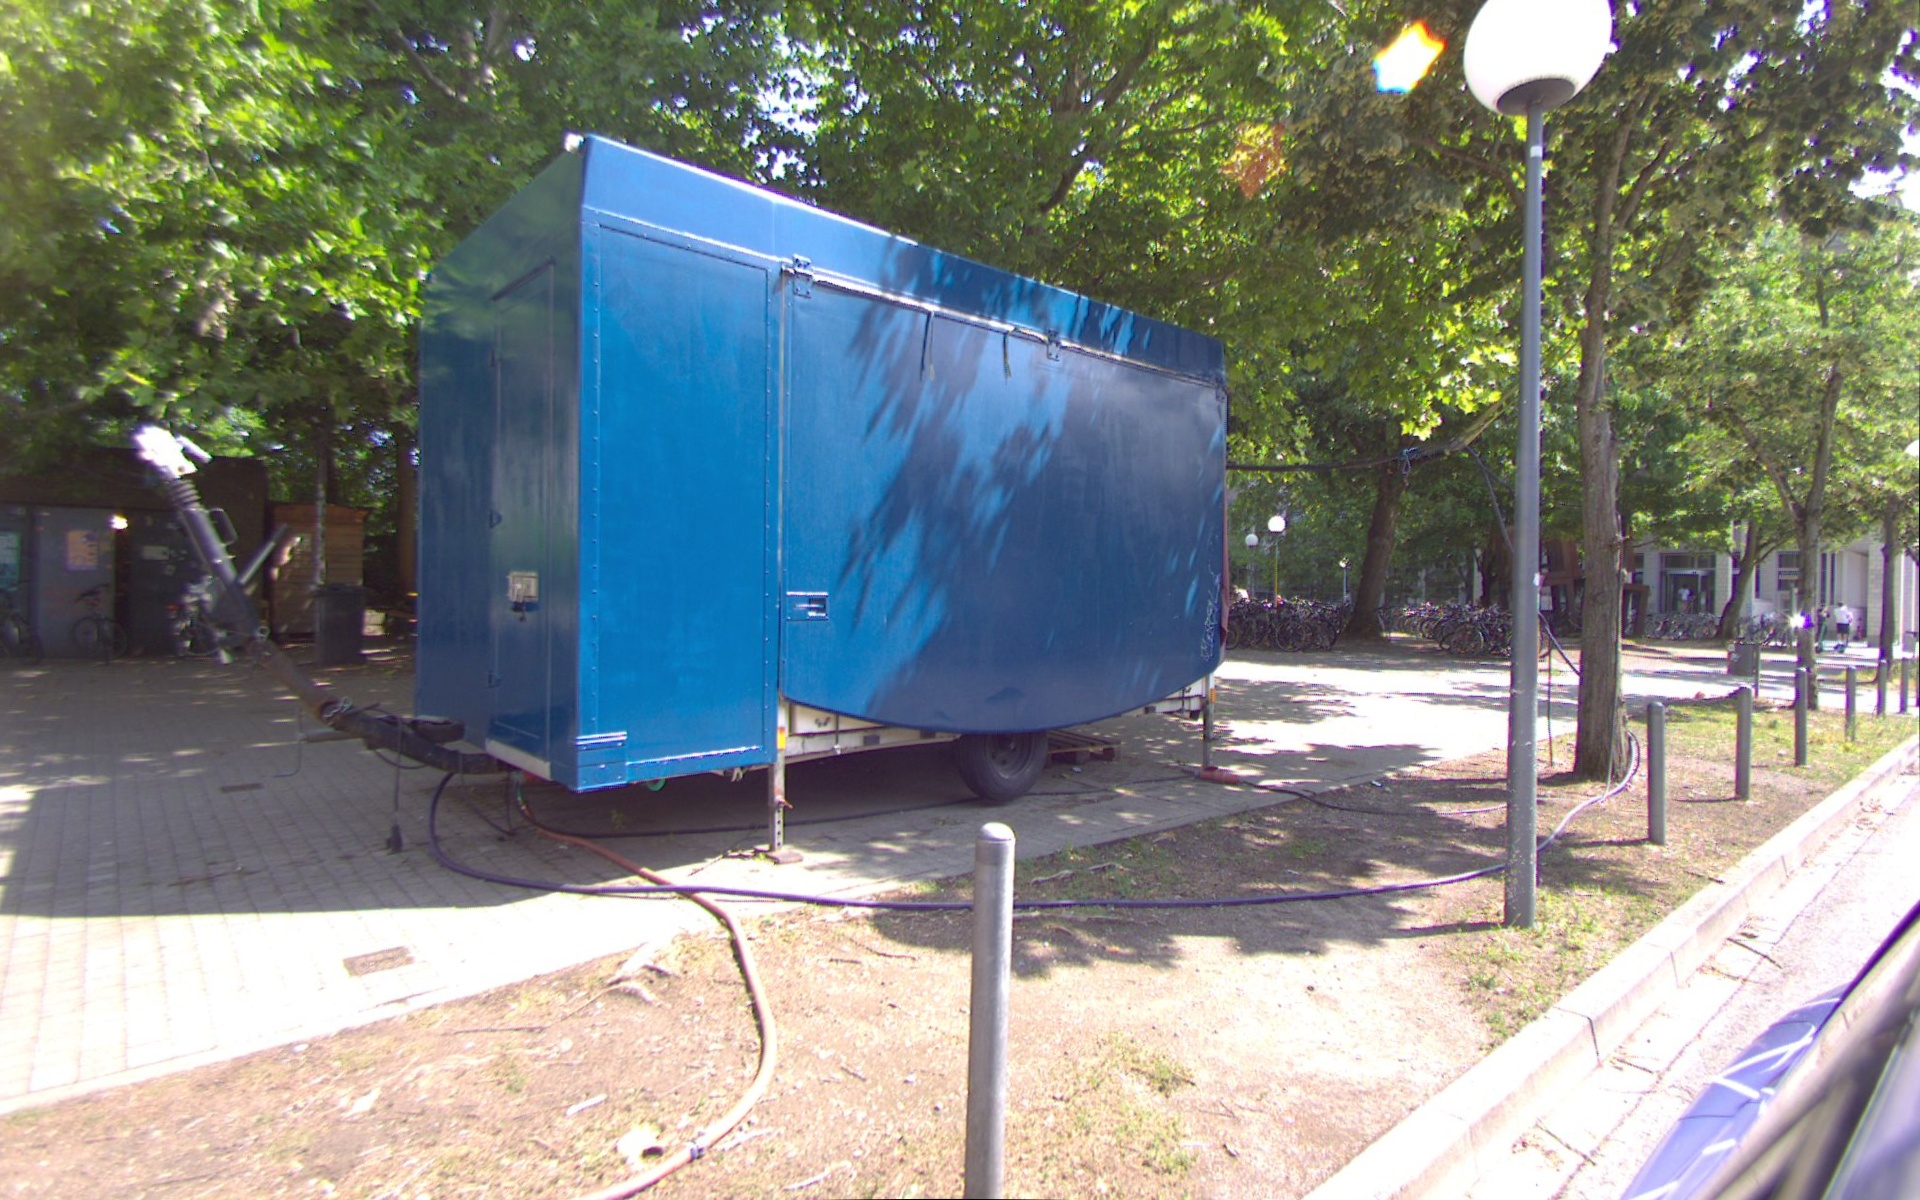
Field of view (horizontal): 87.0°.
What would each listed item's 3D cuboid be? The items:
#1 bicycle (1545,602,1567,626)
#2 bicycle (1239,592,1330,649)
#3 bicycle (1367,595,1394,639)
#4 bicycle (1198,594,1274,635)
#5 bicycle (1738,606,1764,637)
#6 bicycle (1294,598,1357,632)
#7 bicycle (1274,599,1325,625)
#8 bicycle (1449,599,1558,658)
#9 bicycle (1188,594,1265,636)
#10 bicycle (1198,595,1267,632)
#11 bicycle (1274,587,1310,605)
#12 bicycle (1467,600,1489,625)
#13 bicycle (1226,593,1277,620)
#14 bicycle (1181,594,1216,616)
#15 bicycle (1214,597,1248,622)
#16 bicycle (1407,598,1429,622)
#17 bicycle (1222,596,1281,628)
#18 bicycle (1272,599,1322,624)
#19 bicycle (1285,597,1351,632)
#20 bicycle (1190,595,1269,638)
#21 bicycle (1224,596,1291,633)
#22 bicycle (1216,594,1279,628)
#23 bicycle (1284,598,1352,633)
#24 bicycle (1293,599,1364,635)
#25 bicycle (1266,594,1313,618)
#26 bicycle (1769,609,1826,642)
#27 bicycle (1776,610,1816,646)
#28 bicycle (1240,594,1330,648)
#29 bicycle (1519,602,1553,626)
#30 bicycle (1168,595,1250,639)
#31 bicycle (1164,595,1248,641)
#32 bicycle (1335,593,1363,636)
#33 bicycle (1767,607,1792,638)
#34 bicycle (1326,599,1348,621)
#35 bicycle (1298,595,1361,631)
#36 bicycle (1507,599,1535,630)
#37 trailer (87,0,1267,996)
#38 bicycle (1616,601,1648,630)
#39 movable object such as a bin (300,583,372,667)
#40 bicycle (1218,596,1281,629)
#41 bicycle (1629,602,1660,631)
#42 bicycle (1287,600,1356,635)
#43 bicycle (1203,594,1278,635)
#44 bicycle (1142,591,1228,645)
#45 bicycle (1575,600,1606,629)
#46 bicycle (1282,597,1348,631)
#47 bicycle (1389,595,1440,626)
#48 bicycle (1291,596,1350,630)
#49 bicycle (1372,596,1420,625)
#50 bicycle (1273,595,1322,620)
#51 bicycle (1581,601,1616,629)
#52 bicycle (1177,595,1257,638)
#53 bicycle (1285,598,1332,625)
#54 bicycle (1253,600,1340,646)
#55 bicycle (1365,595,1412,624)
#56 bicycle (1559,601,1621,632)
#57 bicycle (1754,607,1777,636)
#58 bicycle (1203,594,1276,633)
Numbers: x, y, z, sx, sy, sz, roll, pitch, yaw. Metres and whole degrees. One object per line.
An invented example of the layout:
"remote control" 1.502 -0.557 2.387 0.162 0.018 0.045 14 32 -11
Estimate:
"bicycle" 26.665 0.644 45.284 0.566 1.061 1.671 -2 -3 41
"bicycle" 7.108 0.437 22.187 1.792 1.132 0.607 3 1 28
"bicycle" 11.391 0.439 27.366 0.474 1.096 1.885 2 1 28
"bicycle" 7.392 0.380 27.105 1.885 0.991 0.474 3 1 26
"bicycle" 31.392 0.858 40.147 1.465 1.155 0.560 3 1 -44
"bicycle" 11.852 0.473 32.837 1.879 0.991 0.476 2 1 19
"bicycle" 14.063 0.482 41.943 1.870 0.991 0.478 2 1 6
"bicycle" 11.893 0.599 22.181 2.010 1.181 0.643 2 0 38
"bicycle" 6.987 0.384 26.555 1.886 0.991 0.417 3 1 28
"bicycle" 7.913 0.377 29.452 1.877 0.991 0.534 2 1 15
"bicycle" 20.158 -0.258 61.377 0.805 1.054 1.928 -4 3 -42
"bicycle" 24.611 0.603 48.069 0.453 1.144 1.661 -2 -3 43
"bicycle" 11.523 0.255 39.966 1.879 0.991 0.476 2 1 19
"bicycle" 12.151 0.253 51.616 1.653 1.098 0.479 1 -2 -9
"bicycle" 12.284 0.433 45.797 1.442 1.098 0.353 0 -2 -7
"bicycle" 22.511 0.502 49.735 0.453 1.144 1.661 -2 -3 43
"bicycle" 9.988 0.407 34.763 1.873 0.991 0.477 2 1 10
"bicycle" 14.095 0.473 42.329 1.870 0.991 0.478 2 1 6
"bicycle" 11.179 0.454 31.639 1.872 0.991 0.478 2 1 8
"bicycle" 6.932 0.415 26.067 1.886 0.991 0.417 3 1 28
"bicycle" 8.921 0.429 30.384 1.879 0.991 0.476 2 1 19
"bicycle" 9.063 0.336 31.892 1.863 0.991 0.304 2 1 22
"bicycle" 10.996 0.478 31.134 1.872 0.991 0.477 2 1 9
"bicycle" 10.895 0.504 29.952 1.868 0.991 0.478 2 1 1
"bicycle" 14.404 0.265 44.304 1.867 0.991 0.479 2 1 0
"bicycle" 31.683 0.952 38.299 1.749 1.155 0.607 2 2 -8
"bicycle" 28.149 0.932 34.099 0.622 1.097 1.674 -1 2 25
"bicycle" 7.475 0.469 23.291 1.886 1.132 0.607 3 1 28
"bicycle" 26.108 0.655 45.872 1.663 1.061 0.618 2 -3 -34
"bicycle" 6.139 0.405 24.977 1.881 0.991 0.418 2 1 21
"bicycle" 5.917 0.414 24.361 1.888 0.991 0.473 3 1 30
"bicycle" 10.636 0.381 27.630 0.474 1.096 1.885 2 1 28
"bicycle" 31.789 0.860 39.256 1.465 1.155 0.560 0 3 -44
"bicycle" 19.872 0.541 53.313 0.477 1.098 1.661 -2 -3 43
"bicycle" 12.160 0.436 33.368 1.875 1.096 0.477 2 1 13
"bicycle" 22.195 0.566 40.028 0.468 1.123 1.665 1 1 12
"trailer" -1.053 -0.437 6.001 6.151 3.089 2.695 1 2 -43
"bicycle" 28.696 0.681 43.224 1.664 1.139 0.566 3 0 -36
"movable object such as a bin" -8.429 0.319 13.673 0.729 1.084 0.600 -2 2 -41
"bicycle" 9.282 0.394 32.488 1.873 0.991 0.477 2 1 10
"bicycle" 28.907 0.703 42.737 1.664 1.139 0.482 3 0 -36
"bicycle" 10.901 0.518 30.528 1.868 0.991 0.478 2 1 1
"bicycle" 7.589 0.376 27.423 1.885 0.991 0.474 3 1 26
"bicycle" 5.271 0.405 23.730 1.888 1.157 0.473 3 1 30
"bicycle" 27.634 0.632 44.349 1.666 1.165 0.627 3 1 -40
"bicycle" 11.229 0.444 32.036 1.872 0.991 0.478 2 1 8
"bicycle" 18.298 0.399 40.777 1.815 1.185 0.412 2 0 10
"bicycle" 12.554 0.434 35.283 1.875 1.096 0.477 2 1 13
"bicycle" 18.912 0.465 43.881 1.818 1.185 0.434 2 0 14
"bicycle" 14.357 0.314 43.071 1.874 0.991 0.477 2 1 11
"bicycle" 26.381 0.617 41.815 1.792 1.091 0.464 3 0 -34
"bicycle" 6.477 0.406 25.531 1.883 0.991 0.474 3 1 25
"bicycle" 14.107 0.467 40.966 1.714 1.035 0.477 2 1 8
"bicycle" 8.082 0.535 24.331 1.886 0.991 0.607 3 1 28
"bicycle" 18.981 0.412 44.870 1.815 1.185 0.412 2 0 10
"bicycle" 24.192 0.632 38.880 1.895 1.123 0.630 1 1 13
"bicycle" 36.572 0.953 45.927 1.799 1.257 0.531 0 1 -43
"bicycle" 7.837 0.358 28.389 1.886 0.991 0.607 3 1 28
